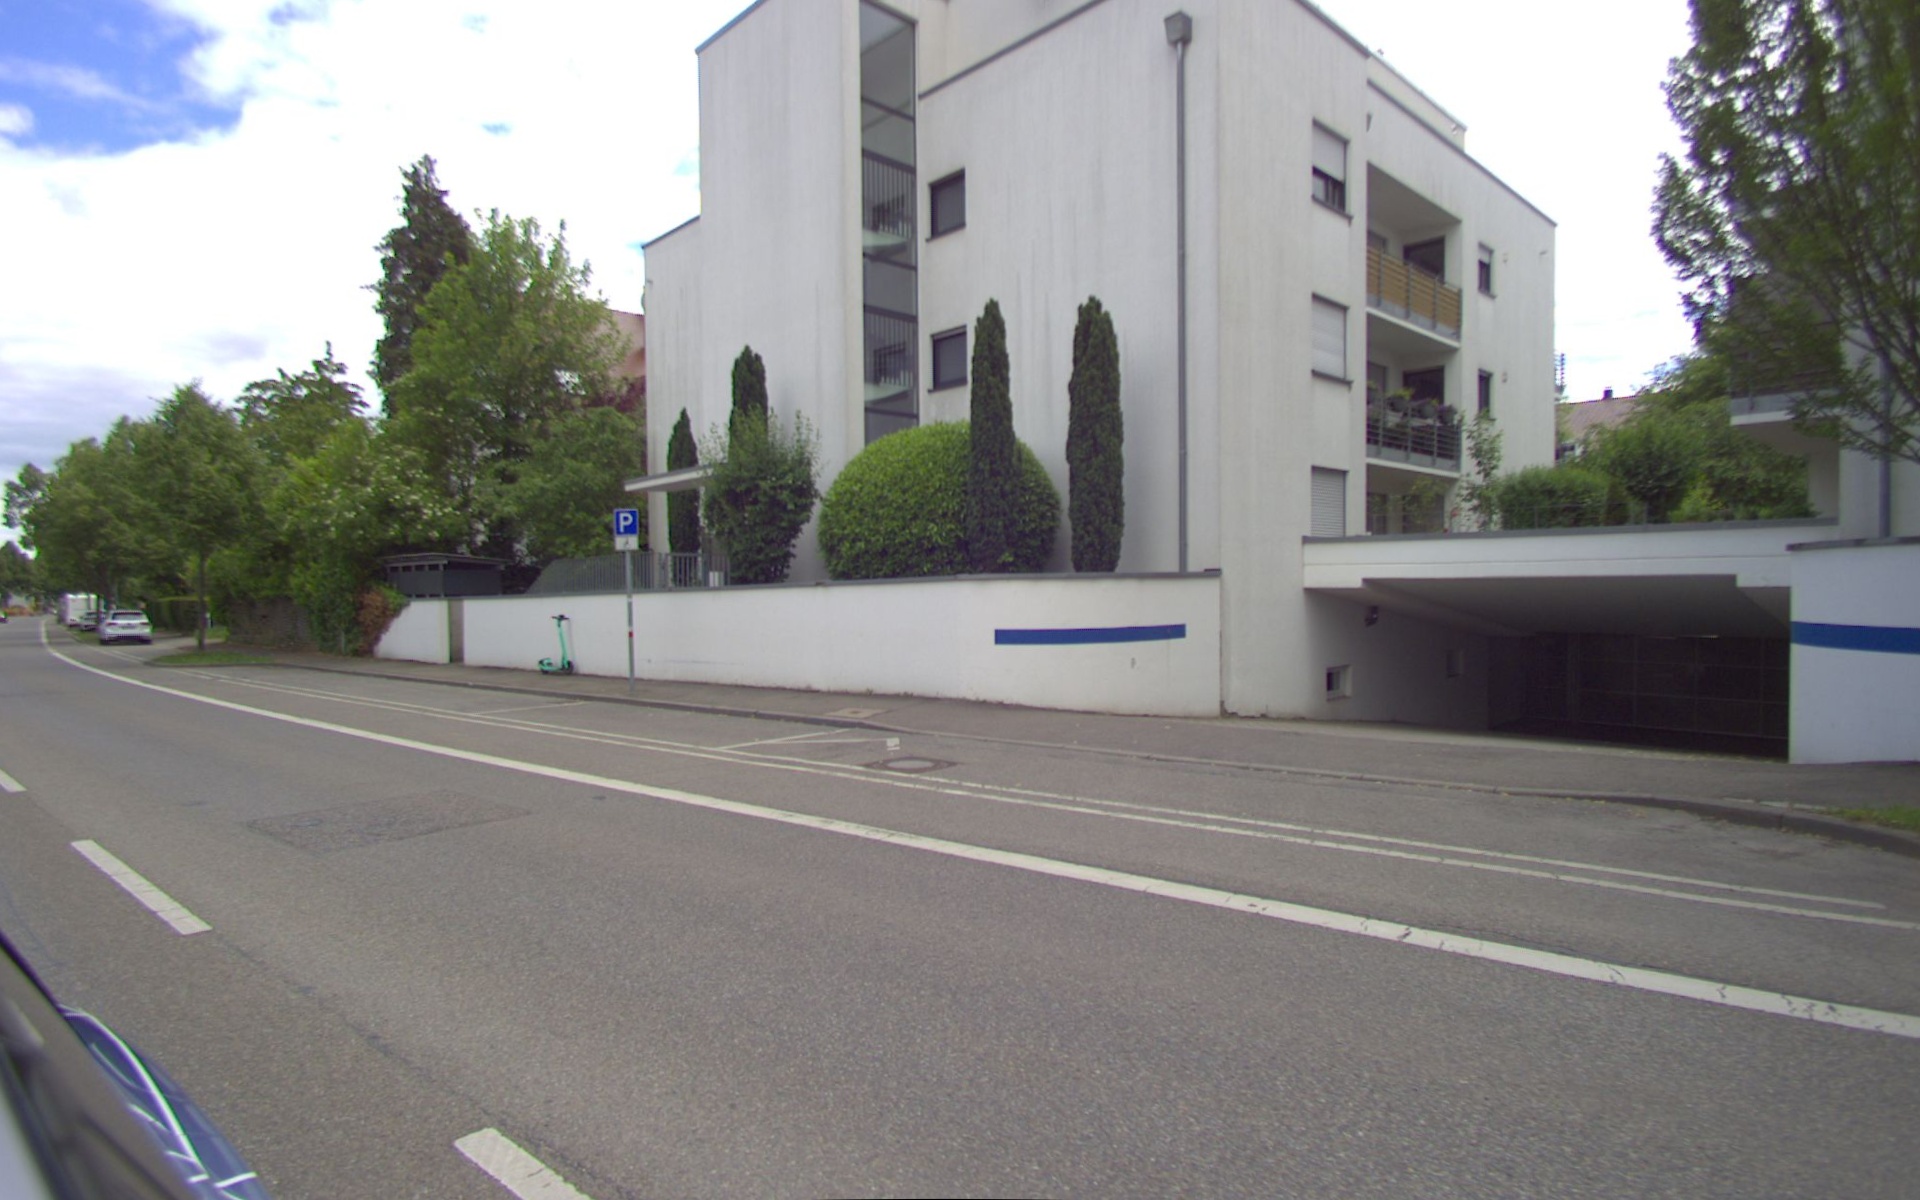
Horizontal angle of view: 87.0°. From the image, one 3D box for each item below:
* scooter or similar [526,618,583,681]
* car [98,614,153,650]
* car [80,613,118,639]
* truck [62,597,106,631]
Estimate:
[{"bbox_3d":[-8.048,0.967,20.071,1.327,1.174,0.429,-1,3,42],"label":"scooter or similar"},{"bbox_3d":[-40.256,1.515,48.809,1.889,1.665,4.005,-1,0,-42],"label":"car"},{"bbox_3d":[-58.601,1.751,68.866,1.862,1.628,4.005,-1,0,-42],"label":"car"},{"bbox_3d":[-76.291,1.218,88.083,2.604,2.794,6.263,-1,0,-43],"label":"truck"}]
